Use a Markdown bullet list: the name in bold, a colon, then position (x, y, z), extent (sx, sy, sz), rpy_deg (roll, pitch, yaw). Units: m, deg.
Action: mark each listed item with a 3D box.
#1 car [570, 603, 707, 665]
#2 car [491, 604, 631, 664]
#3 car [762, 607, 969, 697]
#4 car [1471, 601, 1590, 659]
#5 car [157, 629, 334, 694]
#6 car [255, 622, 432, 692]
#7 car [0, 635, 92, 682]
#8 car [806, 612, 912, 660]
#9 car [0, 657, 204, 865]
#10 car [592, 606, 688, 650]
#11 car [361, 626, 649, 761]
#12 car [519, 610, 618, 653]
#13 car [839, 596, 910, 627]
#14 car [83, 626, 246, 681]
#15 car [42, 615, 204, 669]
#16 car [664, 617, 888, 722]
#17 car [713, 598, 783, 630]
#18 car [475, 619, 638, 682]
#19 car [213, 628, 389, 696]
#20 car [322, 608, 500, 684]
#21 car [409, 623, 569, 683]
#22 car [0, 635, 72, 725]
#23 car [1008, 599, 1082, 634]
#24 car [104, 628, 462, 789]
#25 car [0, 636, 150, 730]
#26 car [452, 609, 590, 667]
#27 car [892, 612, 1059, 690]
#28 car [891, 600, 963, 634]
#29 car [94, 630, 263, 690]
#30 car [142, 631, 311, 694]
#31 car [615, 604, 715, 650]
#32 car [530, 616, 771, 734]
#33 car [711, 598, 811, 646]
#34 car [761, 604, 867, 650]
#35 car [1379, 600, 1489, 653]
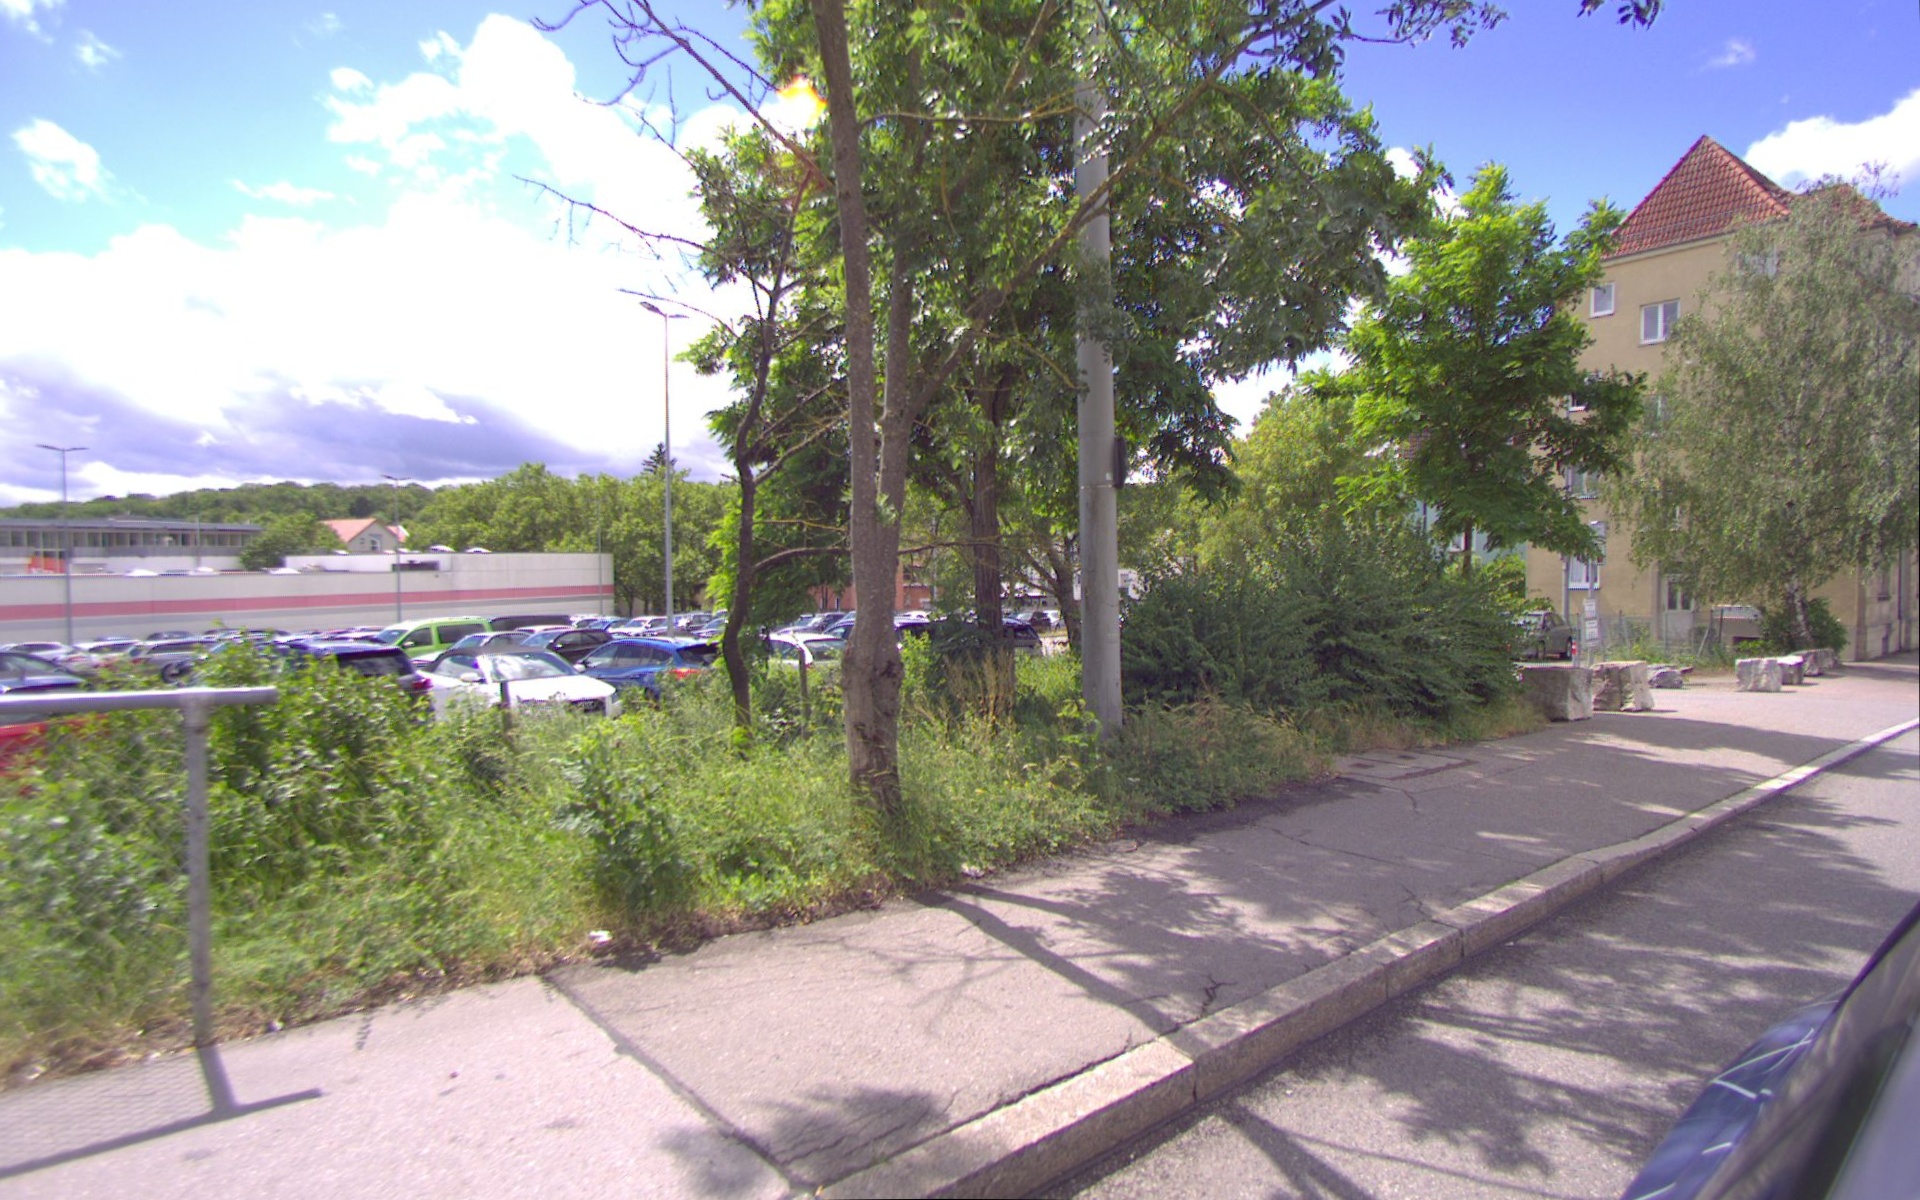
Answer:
- **car**: position (-11.003, 1.129, 34.959), extent (1.979, 1.785, 4.406), rpy_deg (-3, 0, 26)
- **car**: position (-13.997, 1.151, 35.769), extent (1.979, 1.808, 4.406), rpy_deg (-3, 0, 26)
- **car**: position (-2.074, 1.020, 21.672), extent (4.326, 1.690, 1.847), rpy_deg (0, 1, 38)
- **car**: position (16.859, 0.851, 29.829), extent (4.072, 1.408, 1.718), rpy_deg (-4, 0, -41)
- **car**: position (-23.608, 1.964, 33.668), extent (1.889, 1.725, 4.524), rpy_deg (2, 2, 23)
- **car**: position (-19.160, 1.704, 31.696), extent (1.889, 1.725, 4.524), rpy_deg (2, 2, 23)
- **car**: position (-41.365, 2.572, 44.477), extent (1.889, 1.725, 4.524), rpy_deg (2, 2, 23)
- **car**: position (-4.092, 1.425, 41.520), extent (1.862, 1.690, 4.291), rpy_deg (0, 1, 38)
- **car**: position (-10.336, 1.532, 10.593), extent (4.296, 1.690, 1.860), rpy_deg (-1, 1, 21)
- **car**: position (-15.612, 1.347, 49.647), extent (1.979, 1.808, 4.406), rpy_deg (-3, 0, 26)
- **car**: position (-6.978, 1.297, 15.430), extent (4.314, 1.690, 1.852), rpy_deg (-1, 1, 31)
- **car**: position (-19.462, 1.542, 50.521), extent (1.979, 1.808, 4.406), rpy_deg (-3, 0, 26)
- **car**: position (-5.139, 0.687, 61.198), extent (1.862, 1.690, 4.291), rpy_deg (0, 1, 38)
- **car**: position (-30.001, 1.986, 38.333), extent (1.979, 1.680, 4.406), rpy_deg (-3, 0, 26)
- **car**: position (-32.475, 1.572, 39.419), extent (1.889, 1.725, 4.524), rpy_deg (2, 2, 23)
- **car**: position (-3.614, 1.232, 19.499), extent (4.326, 1.690, 1.847), rpy_deg (0, 1, 38)
- **car**: position (-11.021, 0.715, 52.843), extent (1.850, 1.466, 3.690), rpy_deg (-1, 1, 23)
- **car**: position (-11.114, 1.352, 28.126), extent (1.706, 1.408, 3.959), rpy_deg (-3, 0, 30)
- **car**: position (-21.200, 1.939, 32.789), extent (1.889, 1.725, 4.524), rpy_deg (2, 2, 23)
- **car**: position (-16.471, 1.330, 30.662), extent (1.702, 1.898, 4.611), rpy_deg (-3, 0, 24)
- **car**: position (-13.636, 1.502, 29.510), extent (1.706, 1.408, 3.959), rpy_deg (-3, 0, 30)
- **car**: position (-21.003, 1.723, 20.488), extent (1.889, 1.690, 4.163), rpy_deg (2, 2, 24)
- **car**: position (4.575, 0.845, 53.881), extent (1.862, 1.690, 4.291), rpy_deg (0, 1, 38)
- **car**: position (-8.712, 1.254, 13.006), extent (4.303, 1.690, 1.857), rpy_deg (-1, 1, 25)
- **car**: position (-18.205, 1.593, 19.125), extent (1.889, 1.482, 4.163), rpy_deg (2, 2, 24)
- **car**: position (-16.064, 1.346, 37.248), extent (1.979, 1.808, 4.406), rpy_deg (-3, 0, 26)
- **car**: position (0.247, 1.108, 22.835), extent (1.743, 1.504, 4.000), rpy_deg (-3, 0, -34)
- **car**: position (-1.477, 0.776, 46.957), extent (1.852, 1.404, 3.686), rpy_deg (-1, 1, 25)
- **car**: position (-28.140, 2.090, 36.617), extent (1.889, 1.725, 4.524), rpy_deg (2, 2, 23)
- **car**: position (-25.705, 2.132, 35.642), extent (1.889, 1.725, 4.524), rpy_deg (2, 2, 23)
- **car**: position (-13.648, 1.235, 47.150), extent (1.979, 1.808, 4.406), rpy_deg (-3, 0, 26)
- **car**: position (-5.437, 1.176, 17.541), extent (4.326, 1.690, 1.847), rpy_deg (0, 1, 38)
- **car**: position (-8.598, 0.937, 44.196), extent (1.979, 1.808, 4.406), rpy_deg (-3, 0, 26)
- **car**: position (-6.060, 1.092, 42.492), extent (1.862, 1.690, 4.291), rpy_deg (0, 1, 38)
- **car**: position (15.022, 0.785, 31.986), extent (1.870, 1.469, 4.213), rpy_deg (0, 1, 44)
